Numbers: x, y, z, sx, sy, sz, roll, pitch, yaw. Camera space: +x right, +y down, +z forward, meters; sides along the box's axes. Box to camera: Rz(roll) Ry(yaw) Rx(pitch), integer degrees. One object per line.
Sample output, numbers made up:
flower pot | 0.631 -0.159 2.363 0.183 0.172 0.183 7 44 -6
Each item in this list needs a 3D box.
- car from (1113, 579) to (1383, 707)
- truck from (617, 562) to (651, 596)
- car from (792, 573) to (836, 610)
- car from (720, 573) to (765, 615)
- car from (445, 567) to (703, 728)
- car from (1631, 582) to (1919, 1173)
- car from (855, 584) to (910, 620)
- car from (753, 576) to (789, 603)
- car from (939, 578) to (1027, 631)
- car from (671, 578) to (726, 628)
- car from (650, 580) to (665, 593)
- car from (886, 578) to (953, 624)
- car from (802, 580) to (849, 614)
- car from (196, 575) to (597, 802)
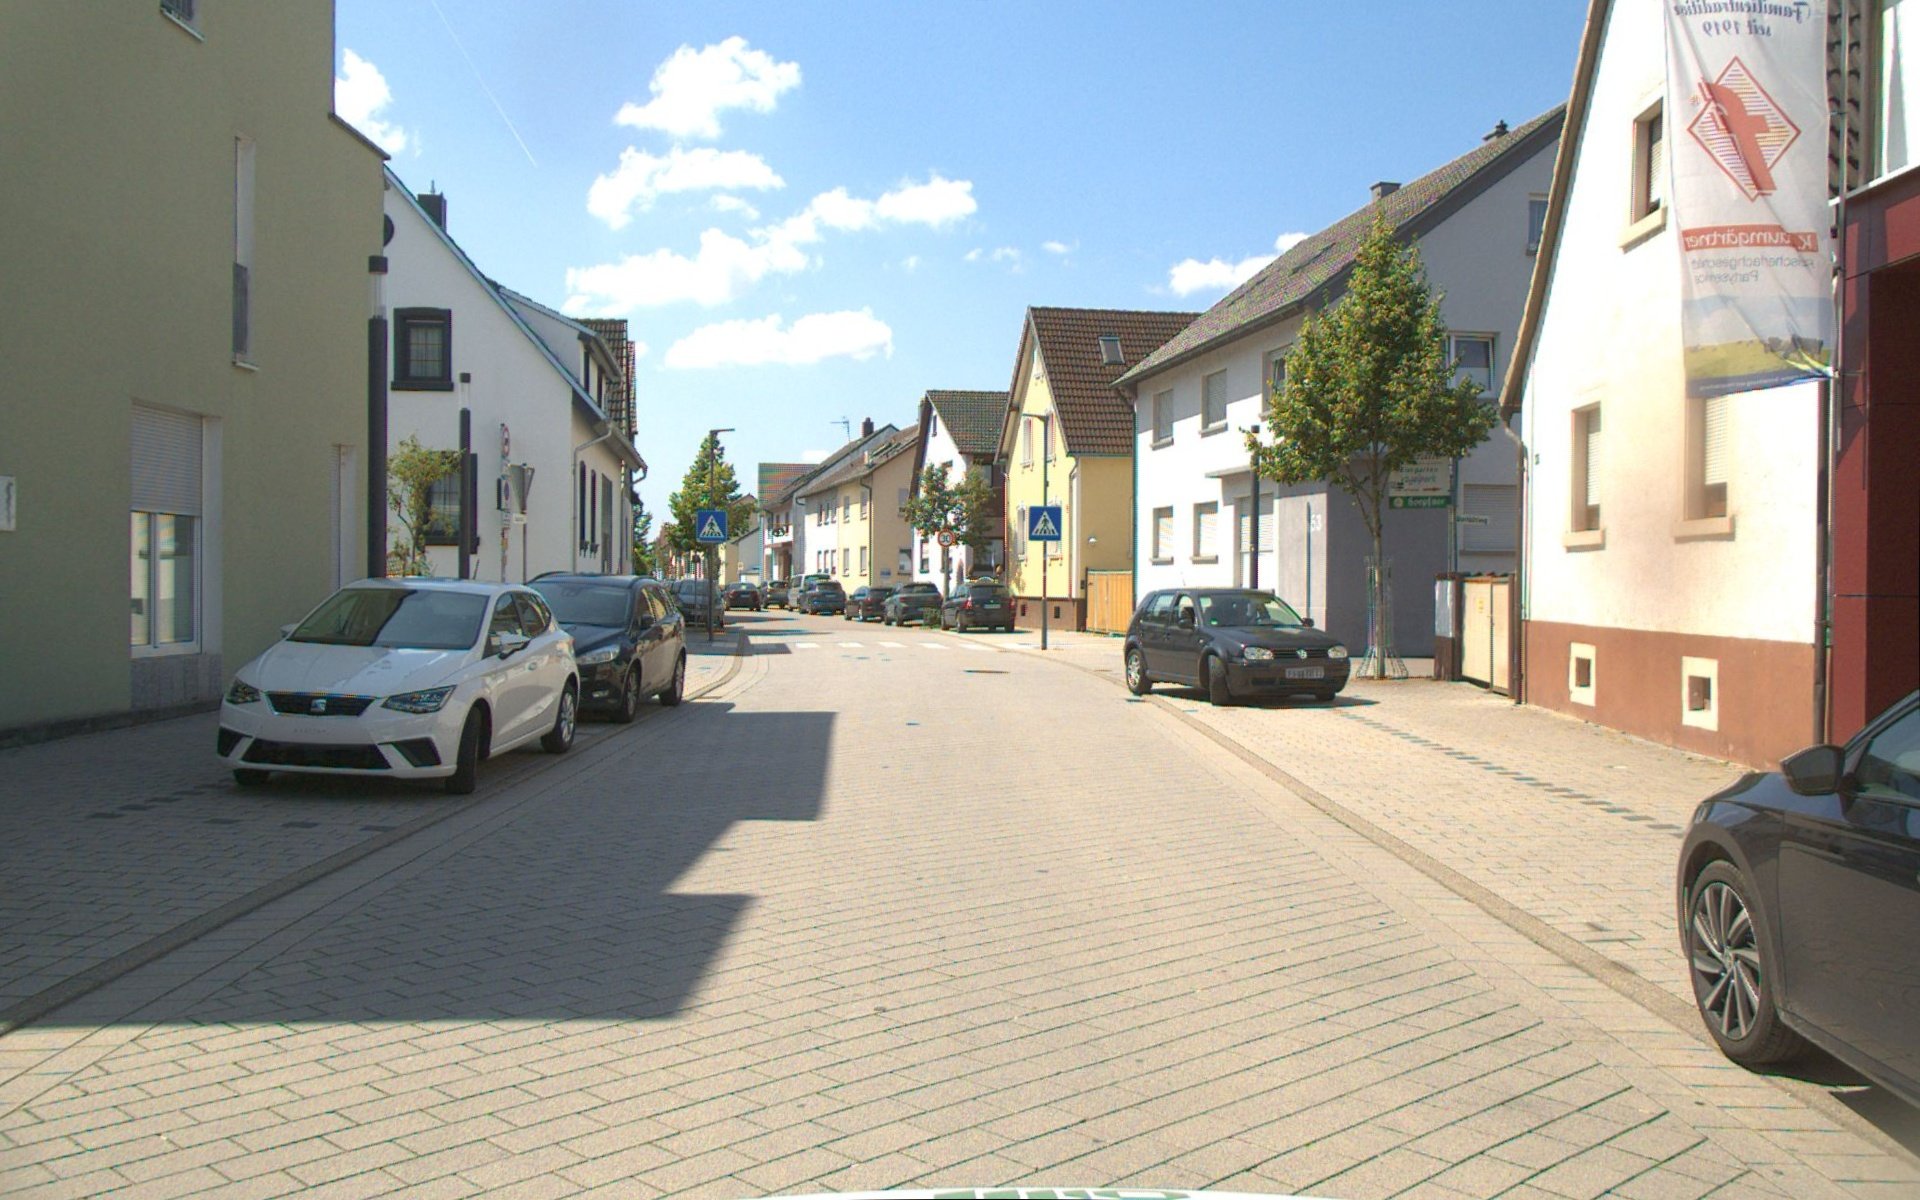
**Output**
car | 3.605 0.476 21.471 1.732 1.463 4.098 -1 1 -18
truck | -39.475 -2.542 200.131 3.504 4.022 8.550 0 1 -14
car | -7.643 -0.456 86.581 1.873 1.904 3.989 0 1 -11
car | -11.288 -0.335 85.658 1.958 2.093 4.361 0 1 -12
car | -4.105 0.426 18.295 1.776 1.516 4.278 2 1 0
car | 3.349 0.712 3.943 1.819 1.484 4.588 -2 1 3
car | -3.194 0.072 67.602 1.680 1.411 3.695 0 1 -11
car | -10.884 -0.642 95.174 1.723 1.519 3.989 0 1 -11
car | 0.663 0.126 50.734 1.797 1.497 4.264 -2 1 -11
car | -8.649 0.065 54.881 1.715 1.556 3.992 1 1 -9
car | -37.574 -1.678 205.244 1.659 1.478 3.779 0 1 -14
car | -1.497 0.018 60.076 1.814 1.590 3.683 0 1 -11
car | -6.617 -0.178 80.877 1.844 1.619 3.989 0 1 -11
car | -4.151 0.556 12.872 1.722 1.435 3.878 2 1 0
